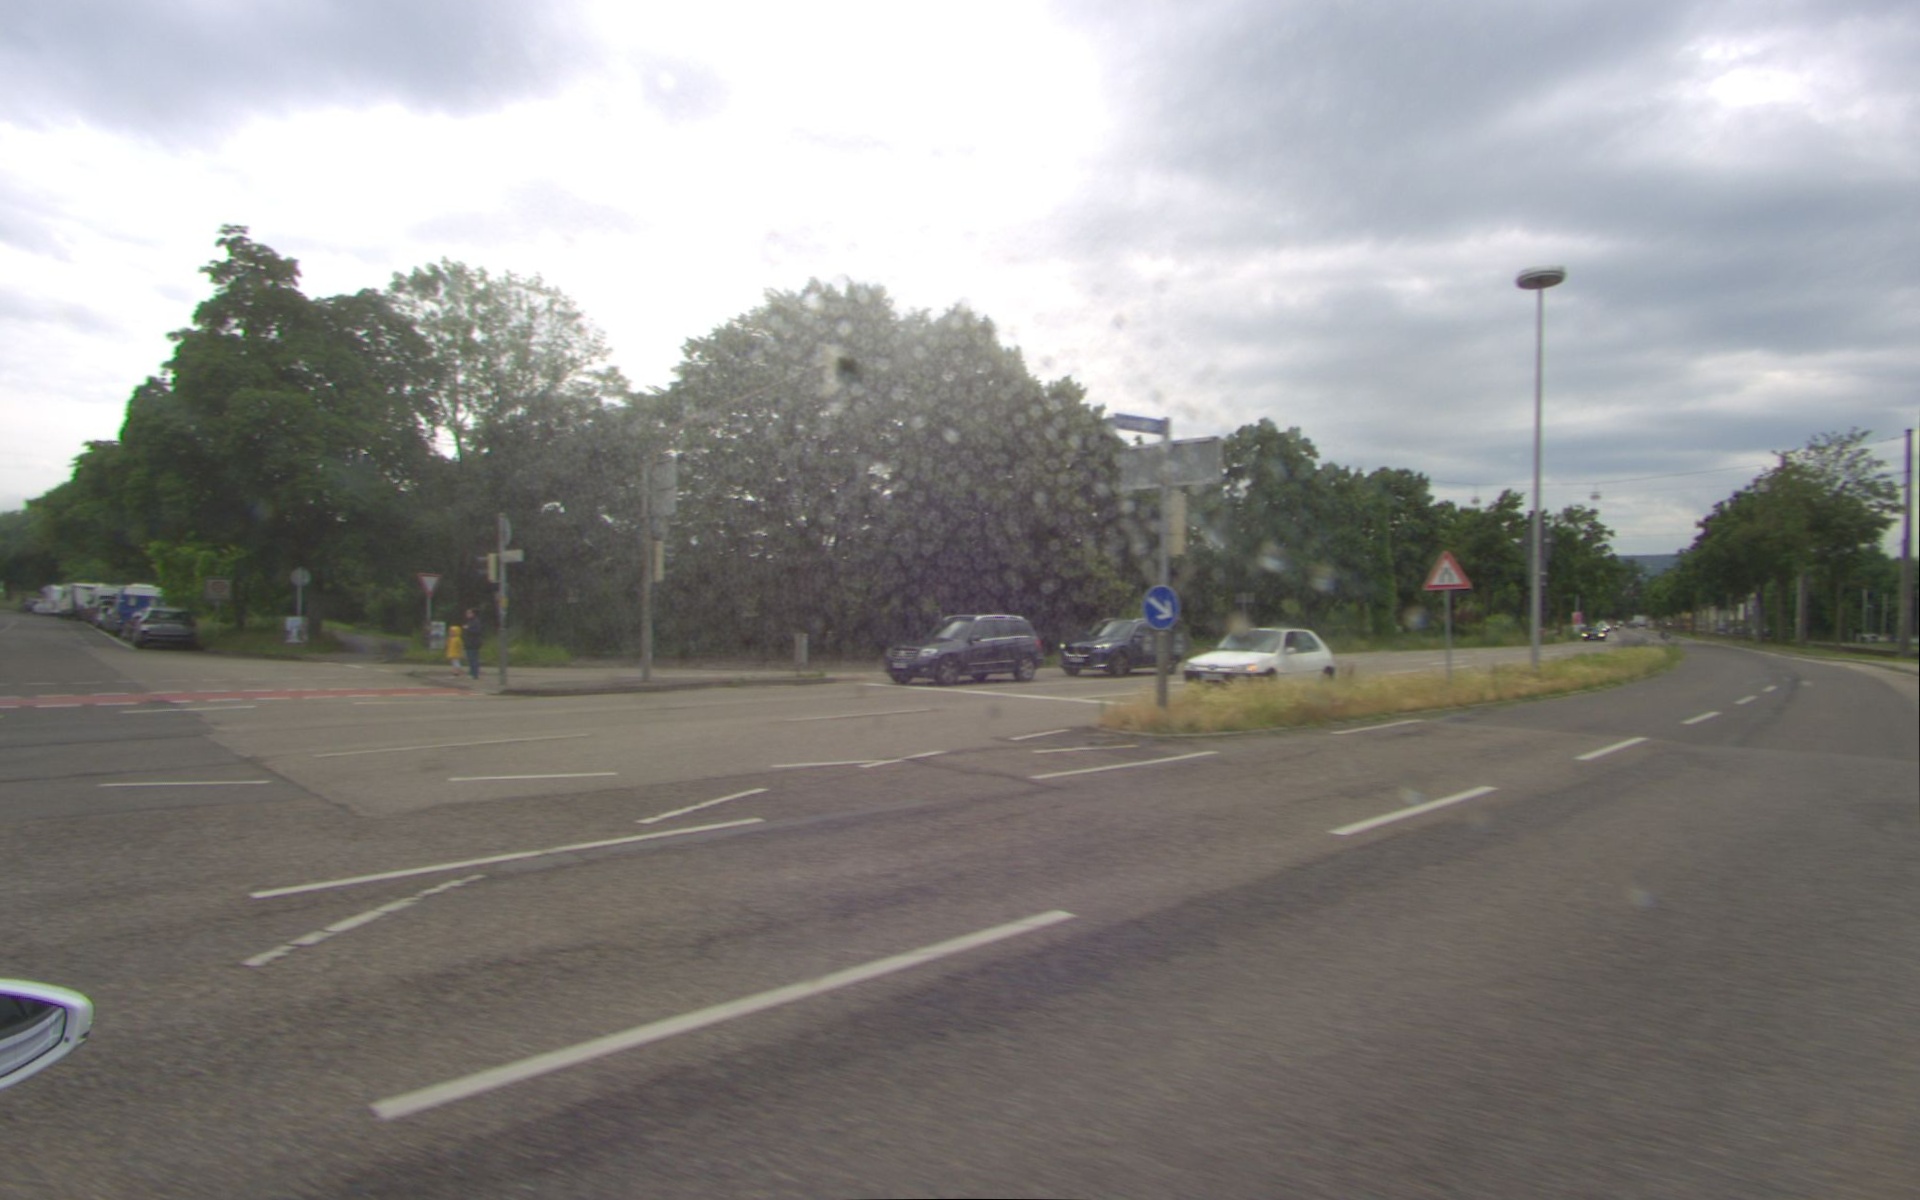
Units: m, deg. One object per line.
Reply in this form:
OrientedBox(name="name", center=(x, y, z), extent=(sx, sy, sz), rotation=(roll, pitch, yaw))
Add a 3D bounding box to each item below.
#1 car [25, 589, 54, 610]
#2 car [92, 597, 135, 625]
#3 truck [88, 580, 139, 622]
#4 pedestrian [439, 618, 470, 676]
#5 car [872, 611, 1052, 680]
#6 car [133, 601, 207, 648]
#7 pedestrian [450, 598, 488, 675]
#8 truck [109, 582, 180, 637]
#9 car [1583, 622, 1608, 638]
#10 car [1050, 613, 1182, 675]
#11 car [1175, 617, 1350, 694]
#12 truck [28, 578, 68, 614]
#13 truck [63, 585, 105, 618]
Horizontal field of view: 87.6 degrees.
OrientedBox(name="car", center=(-90.073, -0.093, 97.995), extent=(3.872, 1.944, 1.644), rotation=(2, 0, 41))
OrientedBox(name="car", center=(-55.248, 0.698, 65.319), extent=(3.956, 1.783, 1.710), rotation=(0, -1, 43))
OrientedBox(name="truck", center=(-61.375, 0.074, 72.573), extent=(5.665, 2.875, 1.984), rotation=(0, 0, 41))
OrientedBox(name="pedestrian", center=(-12.012, 1.107, 23.797), extent=(0.519, 1.359, 0.523), rotation=(1, 0, 44))
OrientedBox(name="car", center=(0.137, 1.071, 24.686), extent=(4.437, 1.523, 1.827), rotation=(2, -1, -45))
OrientedBox(name="car", center=(-30.594, 0.909, 38.747), extent=(3.958, 1.684, 1.773), rotation=(1, 0, 45))
OrientedBox(name="pedestrian", center=(-11.505, 0.847, 23.461), extent=(0.454, 1.773, 0.653), rotation=(1, 0, 44))
OrientedBox(name="truck", center=(-41.704, 0.483, 51.154), extent=(6.182, 2.691, 2.161), rotation=(0, 0, 45))
OrientedBox(name="car", center=(62.170, 2.941, 97.959), extent=(1.640, 1.550, 3.863), rotation=(1, -1, 38))
OrientedBox(name="car", center=(4.571, 1.235, 28.931), extent=(1.858, 1.639, 3.965), rotation=(1, -1, 43))
OrientedBox(name="car", center=(6.207, 1.064, 20.285), extent=(4.112, 1.375, 1.630), rotation=(2, -1, -45))
OrientedBox(name="truck", center=(-79.101, -0.308, 86.805), extent=(5.706, 3.048, 1.984), rotation=(0, -1, 42))
OrientedBox(name="truck", center=(-70.390, 0.140, 80.443), extent=(5.319, 2.606, 1.983), rotation=(0, -1, 43))
